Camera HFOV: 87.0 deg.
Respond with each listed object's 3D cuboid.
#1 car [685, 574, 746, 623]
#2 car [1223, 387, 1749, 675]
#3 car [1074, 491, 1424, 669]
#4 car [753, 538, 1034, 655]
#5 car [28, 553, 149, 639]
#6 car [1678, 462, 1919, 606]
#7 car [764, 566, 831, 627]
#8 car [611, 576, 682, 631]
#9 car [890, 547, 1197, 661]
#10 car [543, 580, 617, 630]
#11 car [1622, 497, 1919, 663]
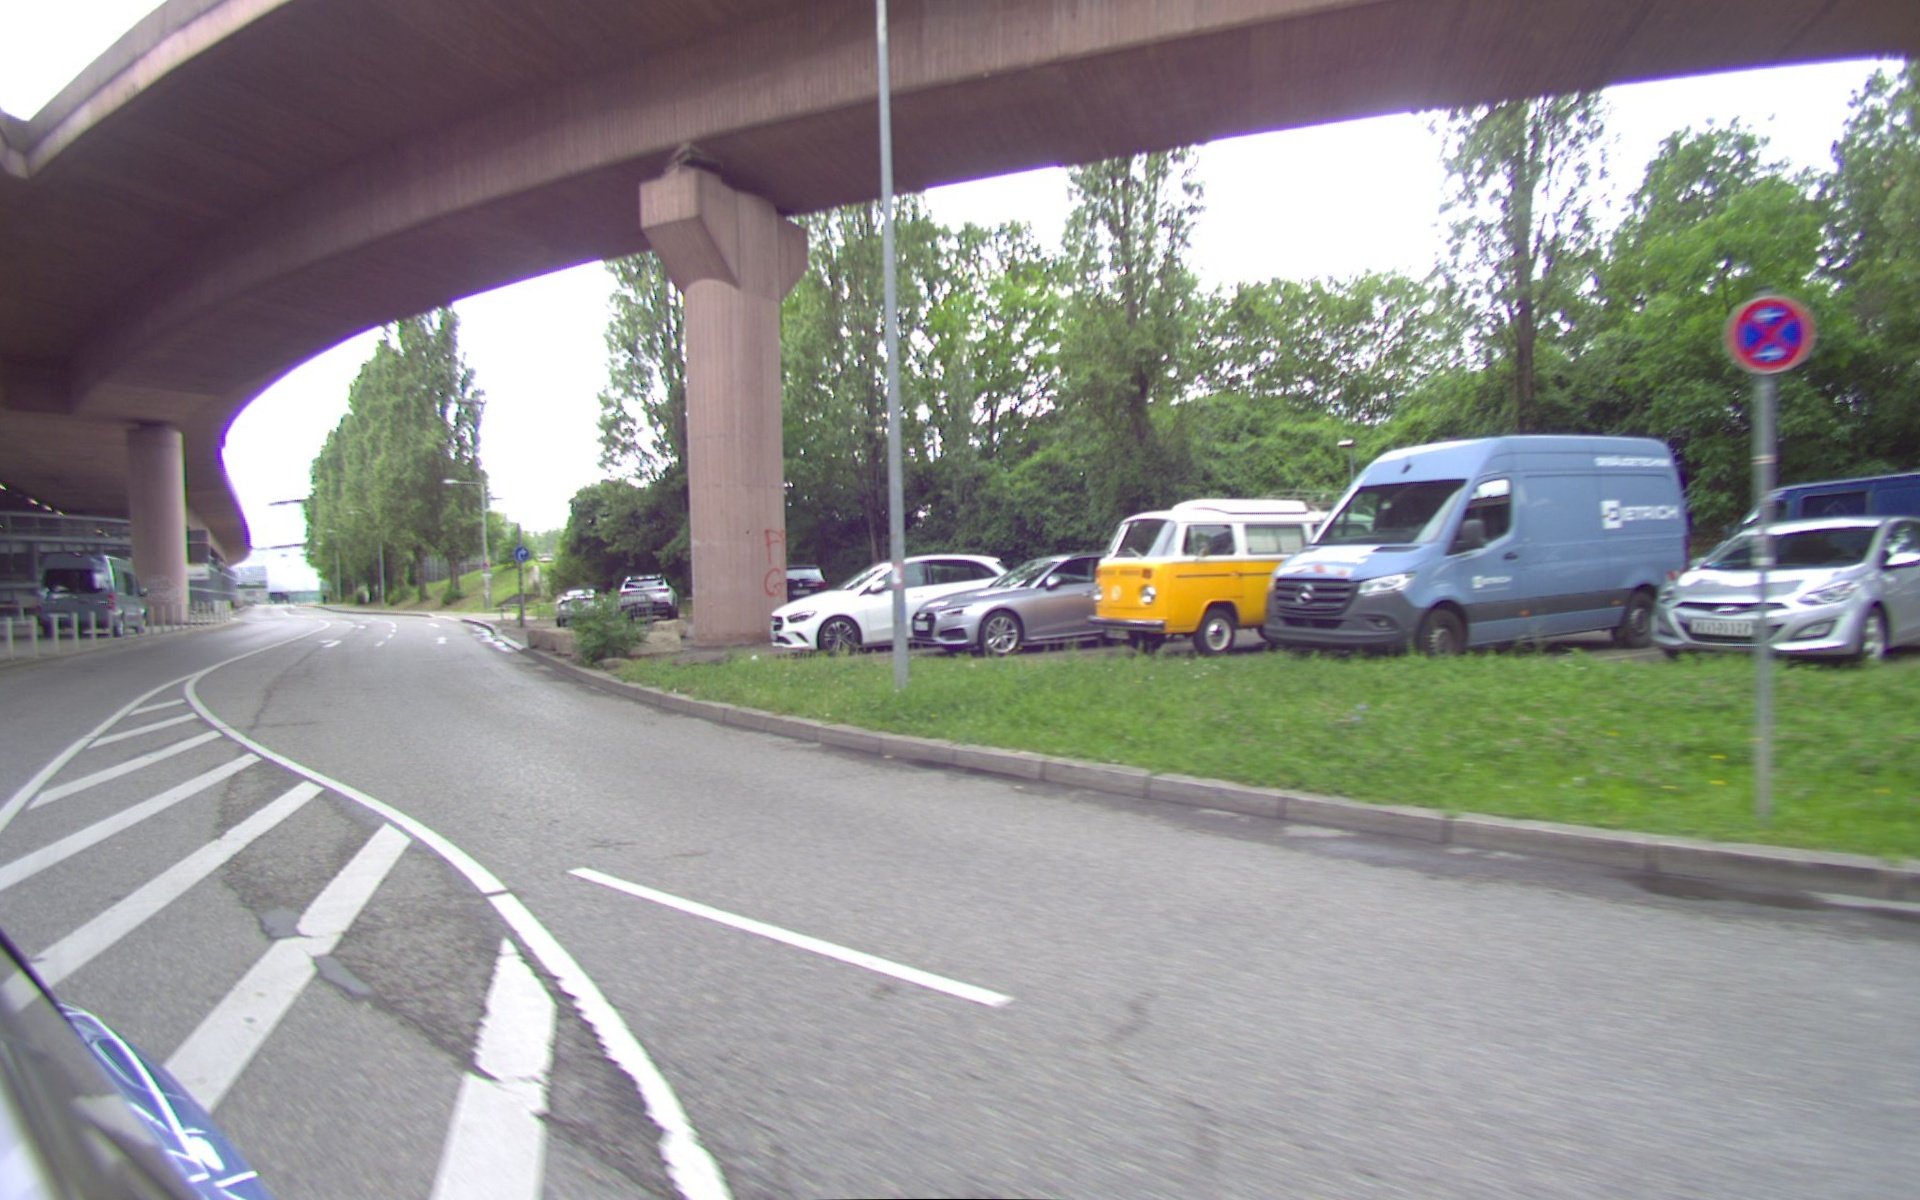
[{"bbox_3d":[-7.936,-0.068,33.145,1.763,1.465,3.756,-2,1,-11],"label":"car"},{"bbox_3d":[6.365,-0.782,12.088,6.089,2.745,2.375,-3,1,-27],"label":"car"},{"bbox_3d":[4.010,-0.335,13.938,4.492,2.127,1.857,-3,1,-26],"label":"car"},{"bbox_3d":[-1.152,-0.097,17.326,4.319,1.618,1.961,-4,1,-21],"label":"car"},{"bbox_3d":[-29.173,-0.122,34.103,1.966,2.633,6.093,0,0,-30],"label":"car"},{"bbox_3d":[15.750,-1.044,17.700,2.089,2.272,5.031,0,0,-14],"label":"car"},{"bbox_3d":[-5.065,-0.125,31.139,1.832,1.704,4.174,-2,1,-11],"label":"car"},{"bbox_3d":[-10.951,0.070,35.611,1.967,1.594,4.413,-6,3,-13],"label":"car"},{"bbox_3d":[1.279,0.014,15.601,4.185,1.381,2.007,-4,1,-24],"label":"car"},{"bbox_3d":[-14.201,0.113,38.062,1.967,1.490,4.842,-5,4,-14],"label":"car"},{"bbox_3d":[9.172,-0.188,10.635,4.219,1.426,2.006,-1,0,-30],"label":"car"}]
